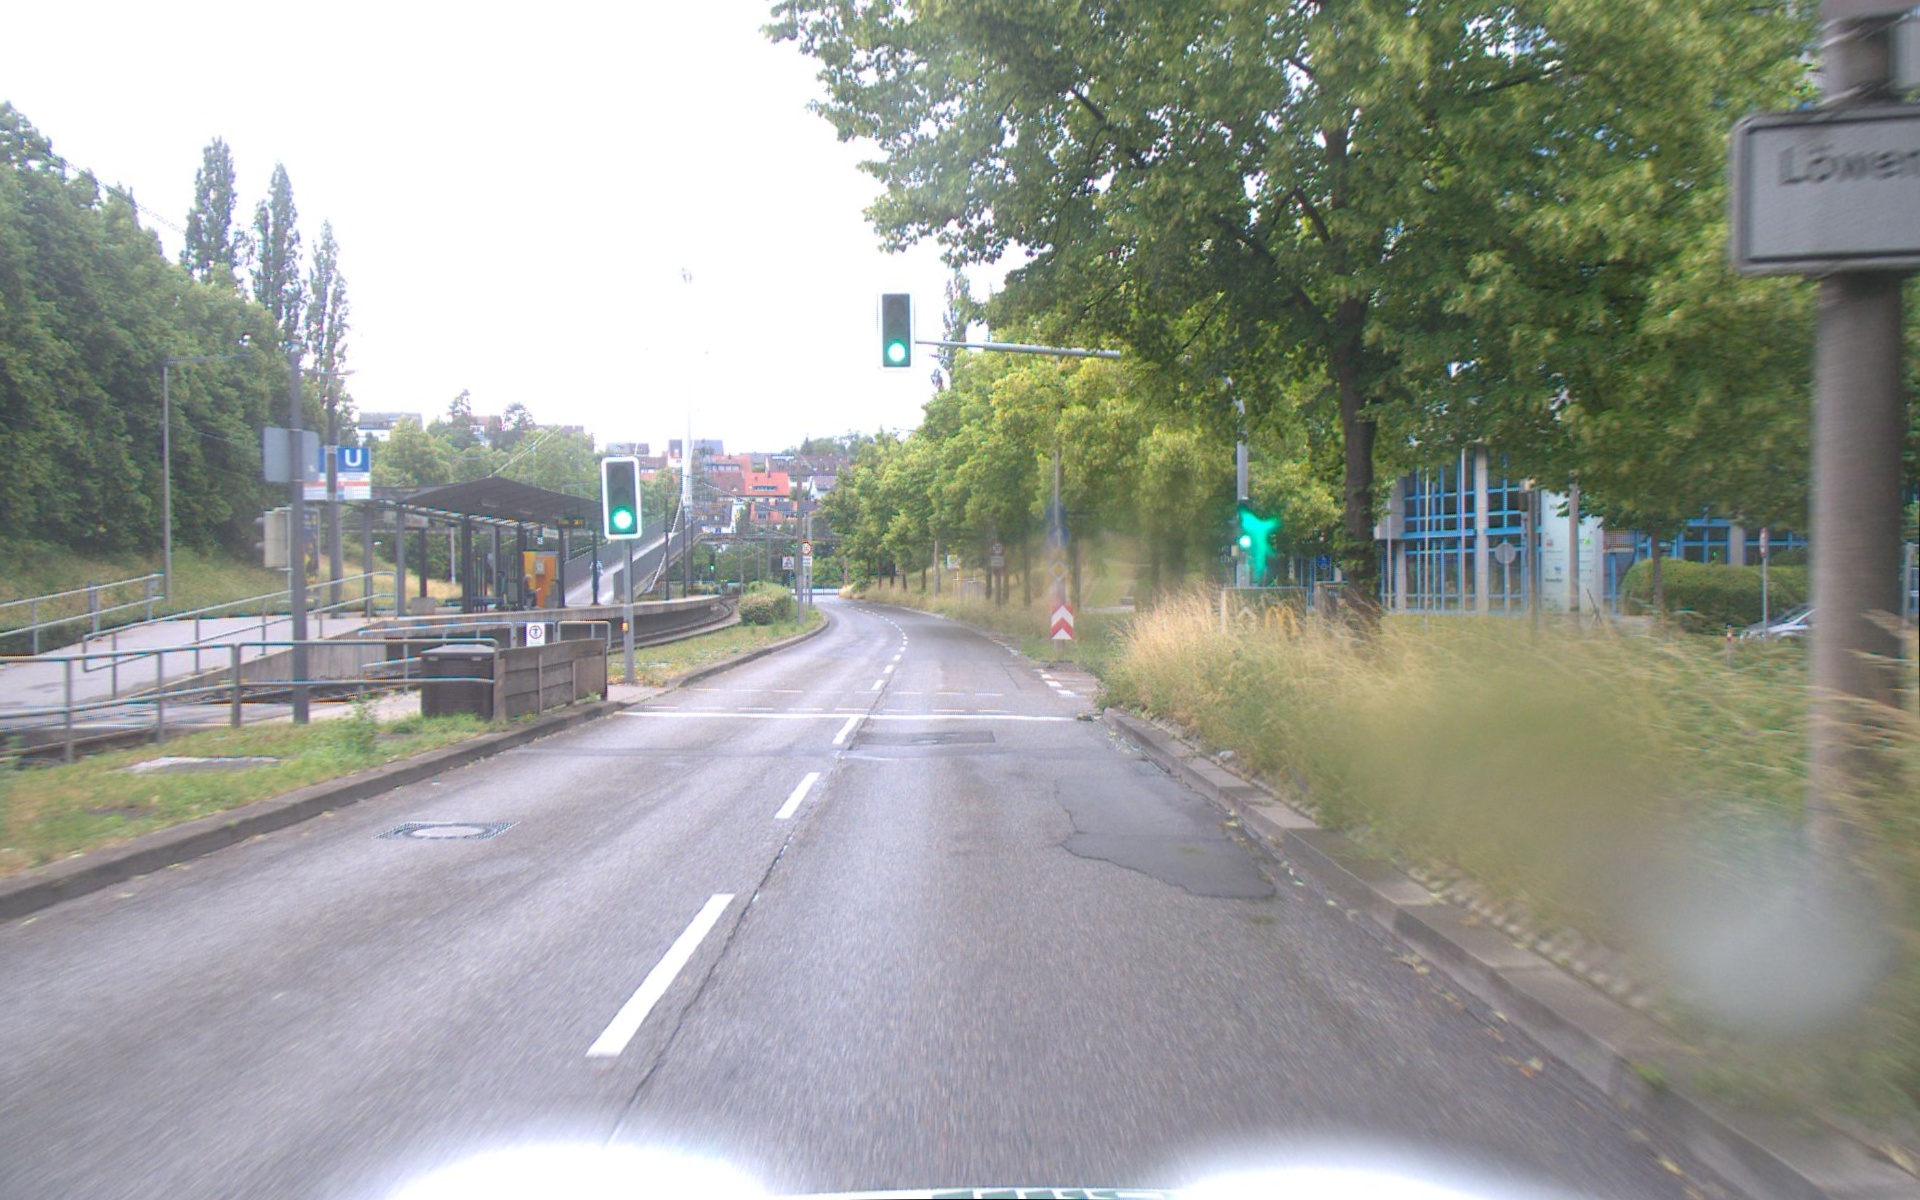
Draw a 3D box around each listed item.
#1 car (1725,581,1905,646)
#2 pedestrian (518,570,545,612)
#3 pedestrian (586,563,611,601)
[{"bbox_3d":[23.443,0.357,45.466,4.010,1.670,1.759,0,2,4],"label":"car"},{"bbox_3d":[-14.233,-0.288,54.964,0.738,1.379,0.691,0,0,-5],"label":"pedestrian"},{"bbox_3d":[-15.919,-0.787,72.888,0.916,1.639,1.026,0,0,-5],"label":"pedestrian"}]
